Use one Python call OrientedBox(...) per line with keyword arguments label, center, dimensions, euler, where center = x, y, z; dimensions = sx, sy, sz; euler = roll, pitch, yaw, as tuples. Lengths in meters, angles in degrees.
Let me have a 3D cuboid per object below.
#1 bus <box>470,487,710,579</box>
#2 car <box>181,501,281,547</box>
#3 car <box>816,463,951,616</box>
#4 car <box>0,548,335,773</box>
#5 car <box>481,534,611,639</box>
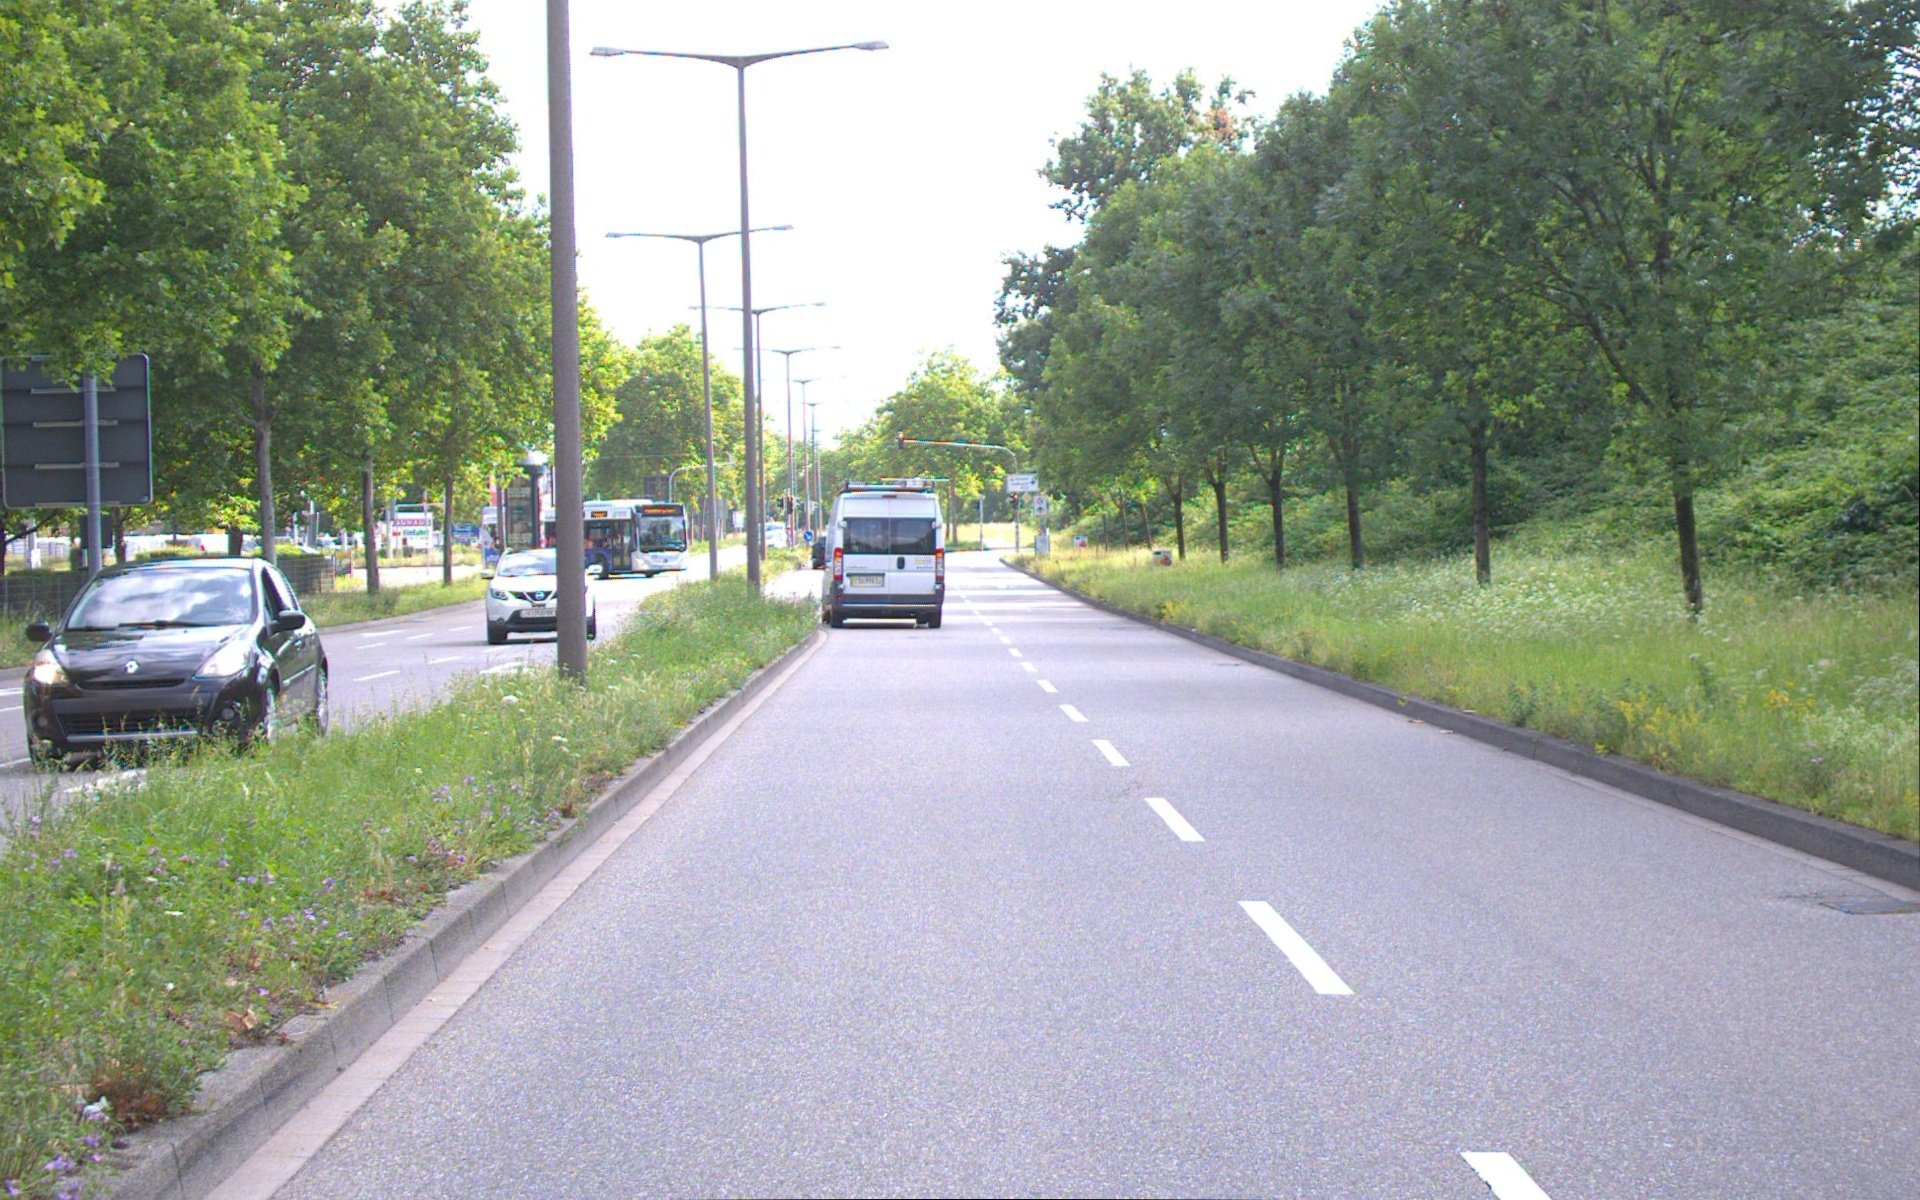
OrientedBox(label="bus", center=(-15.083, -2.668, 139.036), dimensions=(3.111, 3.263, 12.332), euler=(-3, 1, -40))
OrientedBox(label="car", center=(-32.887, -3.411, 155.139), dimensions=(3.988, 1.832, 1.864), euler=(2, -3, -40))
OrientedBox(label="car", center=(-1.475, -1.162, 63.949), dimensions=(2.197, 2.717, 4.933), euler=(0, 2, -5))
OrientedBox(label="car", center=(-5.715, 0.388, 25.106), dimensions=(1.694, 1.459, 3.941), euler=(-2, 1, -2))
OrientedBox(label="car", center=(-7.030, -0.269, 58.747), dimensions=(1.814, 1.634, 4.352), euler=(-3, 1, -3))
